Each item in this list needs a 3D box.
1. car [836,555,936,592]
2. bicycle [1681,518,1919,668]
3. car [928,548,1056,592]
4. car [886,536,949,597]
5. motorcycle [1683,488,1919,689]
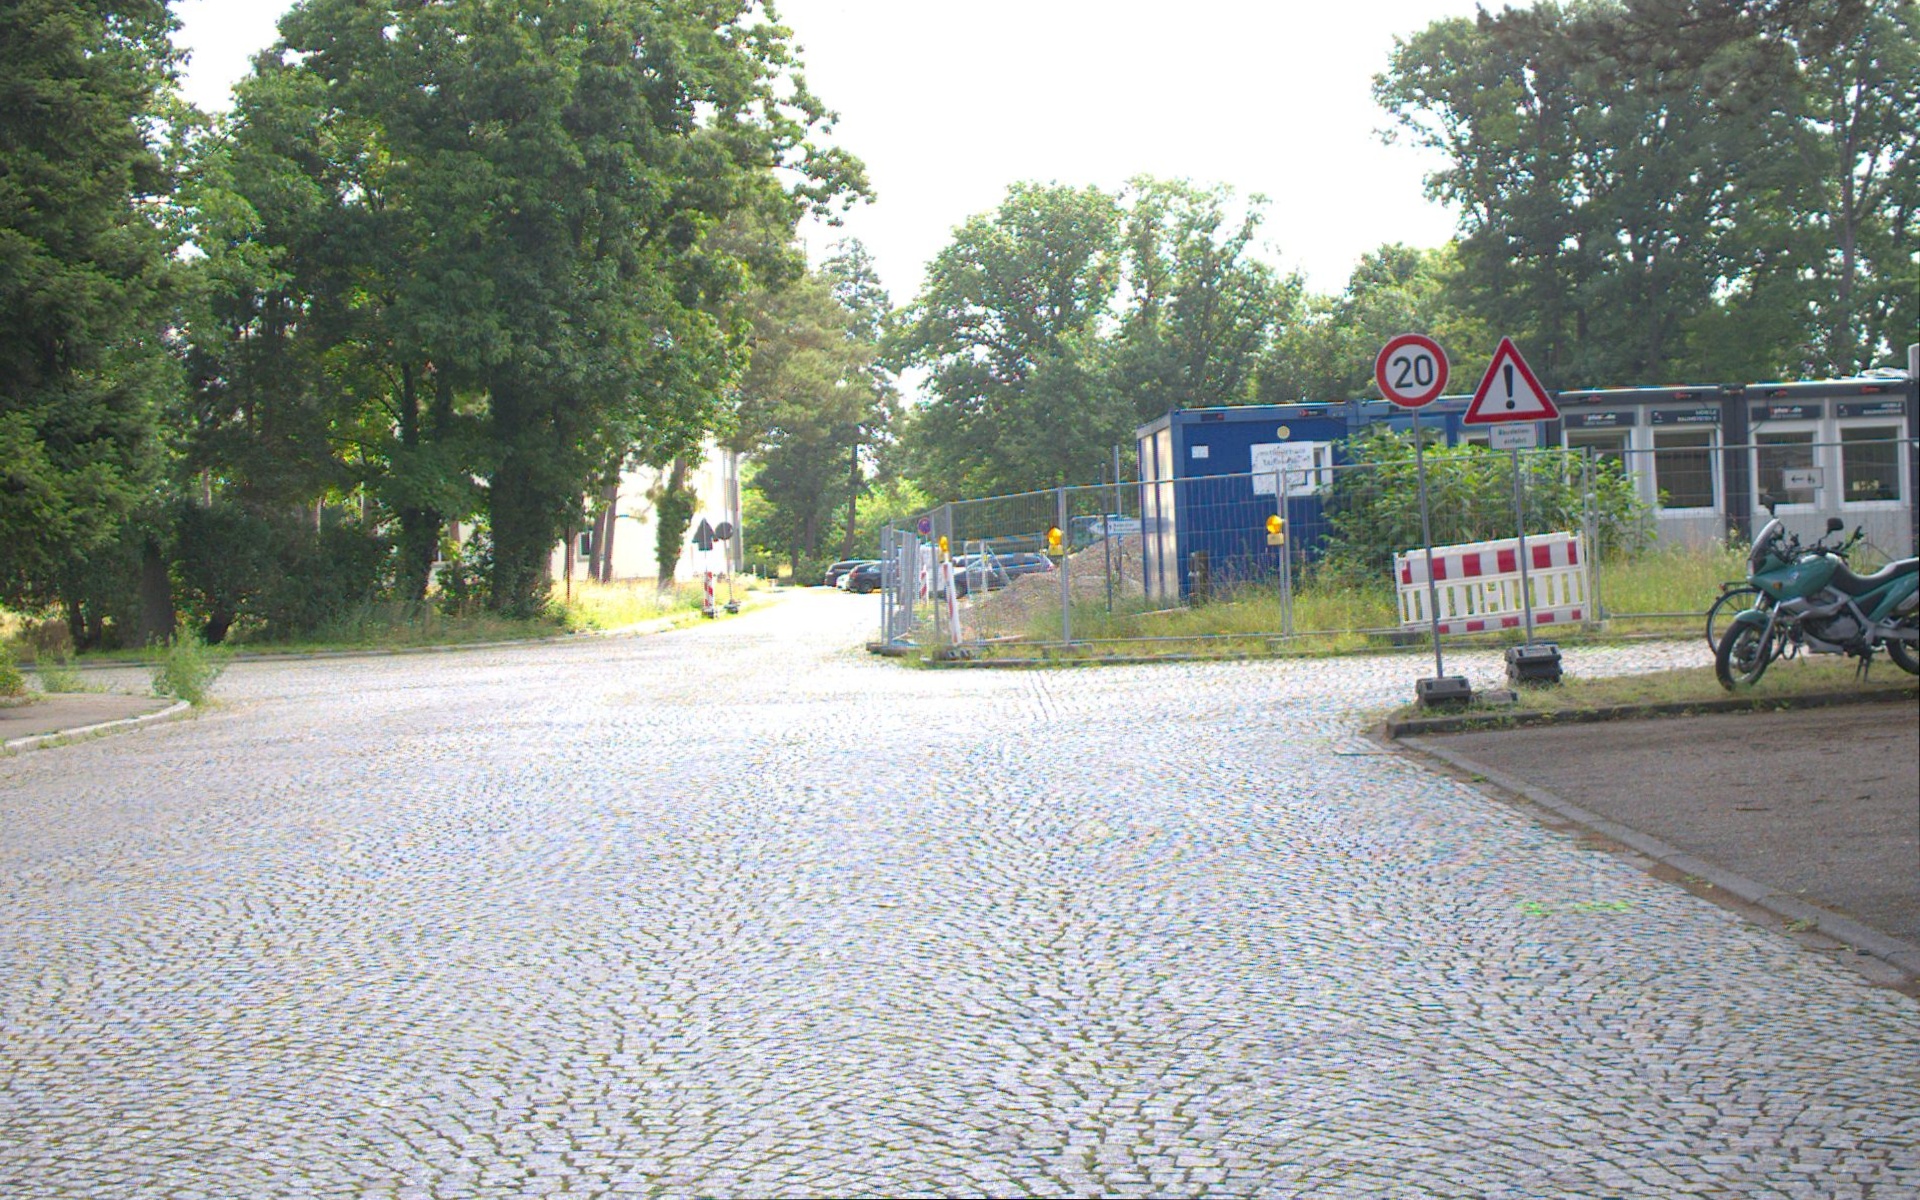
[{"bbox_3d":[-3.672,-1.309,169.936,4.779,1.635,2.000,-2,0,-6],"label":"car"},{"bbox_3d":[7.228,-0.061,29.560,1.900,1.193,0.655,-3,1,19],"label":"bicycle"},{"bbox_3d":[1.173,-1.087,124.200,4.404,1.505,1.999,-1,1,8],"label":"car"},{"bbox_3d":[-1.484,-1.143,118.250,1.993,2.007,4.091,-2,0,-2],"label":"car"},{"bbox_3d":[6.953,-0.110,27.065,2.276,1.480,0.757,-3,1,-5],"label":"motorcycle"}]
